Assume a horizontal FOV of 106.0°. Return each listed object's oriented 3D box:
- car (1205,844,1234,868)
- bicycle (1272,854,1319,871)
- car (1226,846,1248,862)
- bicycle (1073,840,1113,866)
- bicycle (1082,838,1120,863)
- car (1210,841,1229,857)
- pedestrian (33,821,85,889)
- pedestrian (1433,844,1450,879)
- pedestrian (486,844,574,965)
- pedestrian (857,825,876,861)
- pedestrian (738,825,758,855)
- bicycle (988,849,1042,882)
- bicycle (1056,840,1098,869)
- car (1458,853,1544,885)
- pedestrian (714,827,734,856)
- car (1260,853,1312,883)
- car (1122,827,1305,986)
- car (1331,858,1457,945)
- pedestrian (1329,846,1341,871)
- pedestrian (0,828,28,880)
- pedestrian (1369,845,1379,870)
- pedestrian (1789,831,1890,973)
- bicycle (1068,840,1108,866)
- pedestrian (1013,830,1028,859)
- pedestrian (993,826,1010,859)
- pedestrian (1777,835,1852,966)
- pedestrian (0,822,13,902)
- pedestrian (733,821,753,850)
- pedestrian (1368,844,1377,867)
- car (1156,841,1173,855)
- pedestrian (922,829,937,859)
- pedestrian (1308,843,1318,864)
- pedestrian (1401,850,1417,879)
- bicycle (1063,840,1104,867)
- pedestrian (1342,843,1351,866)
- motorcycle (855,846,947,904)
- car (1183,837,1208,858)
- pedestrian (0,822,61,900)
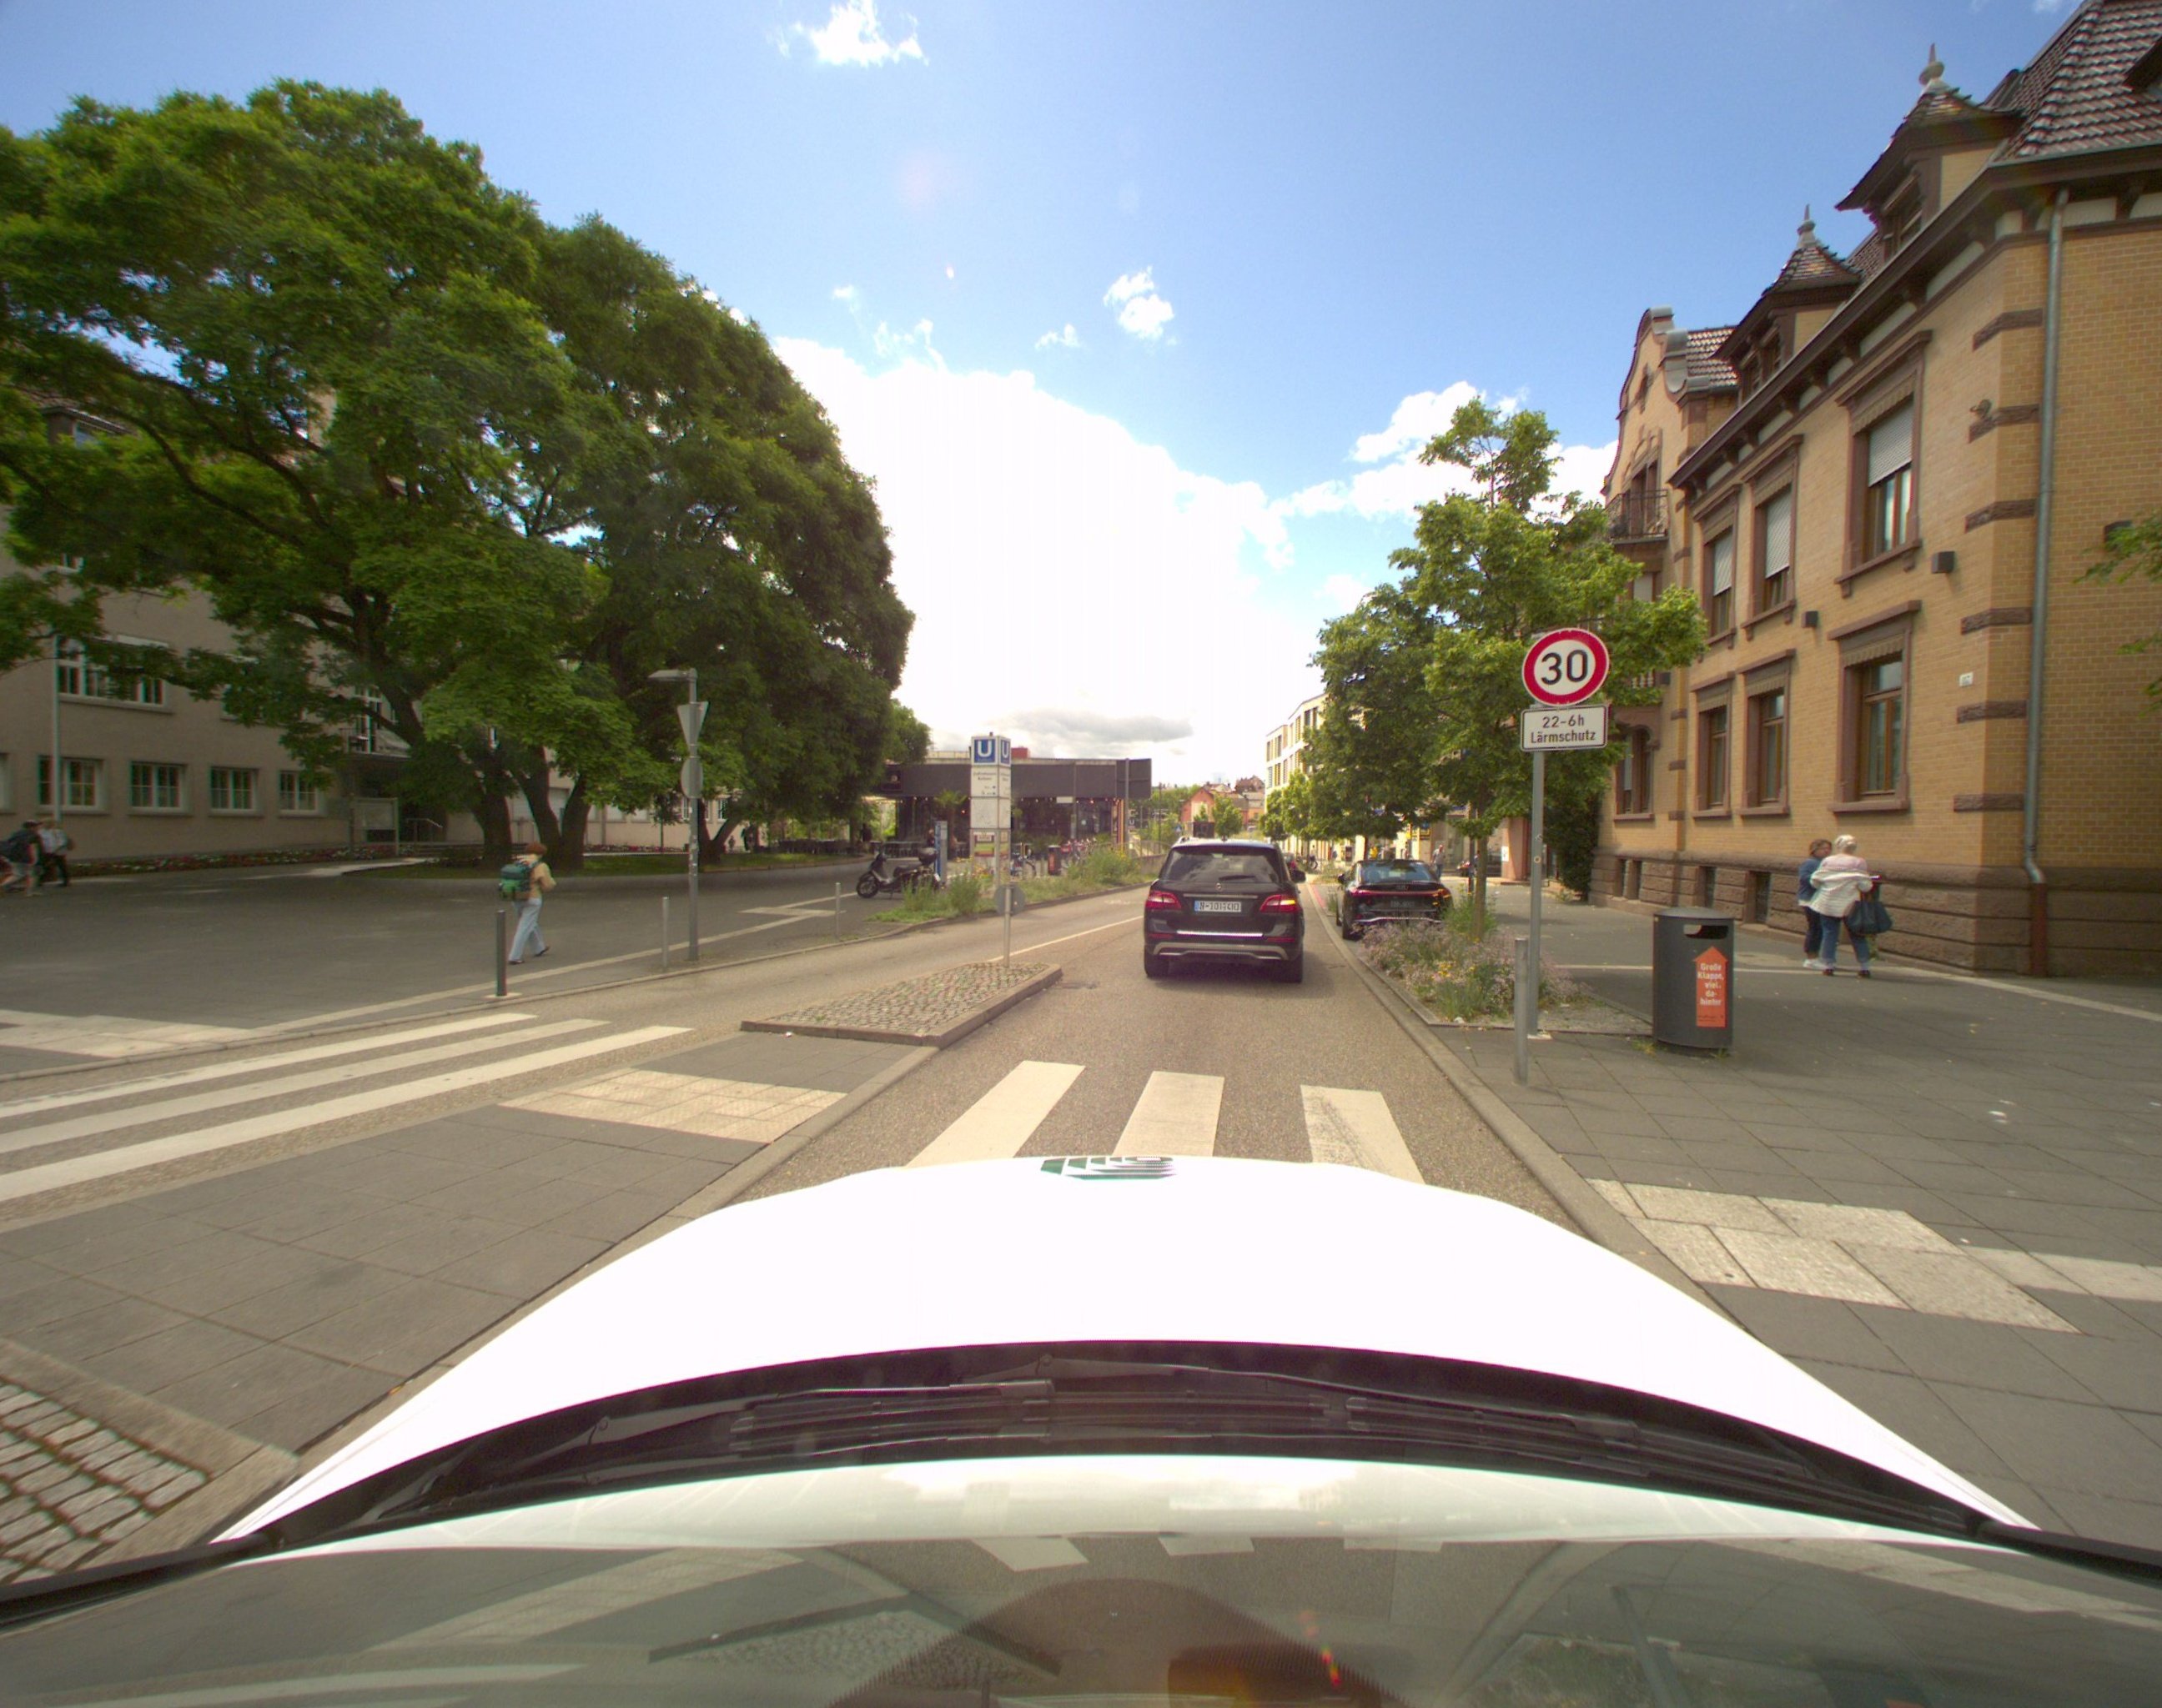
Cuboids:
[{"bbox_3d":[10.105,0.113,59.098,1.828,1.607,4.014,3,1,12],"label":"car"},{"bbox_3d":[14.598,0.556,55.524,3.041,1.146,0.712,0,0,9],"label":"bicycle"},{"bbox_3d":[13.623,-0.028,71.226,1.601,1.383,3.842,0,0,5],"label":"car"},{"bbox_3d":[0.512,-0.058,34.354,1.556,1.091,0.580,0,0,14],"label":"bicycle"},{"bbox_3d":[0.855,-0.159,35.232,1.556,1.091,0.580,0,0,14],"label":"bicycle"},{"bbox_3d":[14.490,-0.505,85.561,1.830,1.524,4.010,3,1,8],"label":"car"},{"bbox_3d":[-23.265,0.029,18.544,0.804,1.493,0.705,0,-1,38],"label":"pedestrian"},{"bbox_3d":[16.957,0.359,38.329,0.627,1.626,0.702,0,0,14],"label":"pedestrian"},{"bbox_3d":[-7.333,0.643,10.862,0.545,1.514,0.792,2,3,22],"label":"pedestrian"},{"bbox_3d":[-9.484,-0.482,36.074,0.610,1.577,0.584,0,0,10],"label":"pedestrian"},{"bbox_3d":[-18.160,-0.773,44.370,0.780,1.627,0.639,0,0,13],"label":"pedestrian"},{"bbox_3d":[-2.040,0.355,25.254,1.598,0.997,0.502,0,0,20],"label":"bicycle"},{"bbox_3d":[-0.156,0.018,31.928,1.556,1.091,0.580,0,0,14],"label":"bicycle"},{"bbox_3d":[23.785,0.809,46.216,3.960,1.566,1.853,3,1,13],"label":"car"},{"bbox_3d":[-19.566,-0.695,44.675,0.630,1.577,0.791,0,0,14],"label":"pedestrian"},{"bbox_3d":[10.094,0.650,39.909,1.593,1.383,3.860,0,1,28],"label":"car"},{"bbox_3d":[2.001,0.578,11.265,2.013,1.727,4.450,-1,0,14],"label":"car"},{"bbox_3d":[5.840,0.798,15.679,1.842,1.406,4.392,-1,0,15],"label":"car"},{"bbox_3d":[17.387,0.314,55.770,0.659,1.682,0.569,0,0,4],"label":"pedestrian"},{"bbox_3d":[-25.424,-0.001,19.216,0.489,1.222,0.575,1,-1,-29],"label":"pedestrian"},{"bbox_3d":[20.142,0.237,55.945,0.555,1.691,0.641,0,0,11],"label":"pedestrian"},{"bbox_3d":[9.110,0.556,9.796,0.553,1.629,0.674,-1,-1,-14],"label":"pedestrian"},{"bbox_3d":[0.294,-0.047,33.494,1.556,1.091,0.580,0,0,14],"label":"bicycle"},{"bbox_3d":[-3.048,-0.476,41.064,0.576,1.463,0.619,0,0,22],"label":"pedestrian"},{"bbox_3d":[-3.944,-0.566,40.397,0.586,1.618,0.609,0,0,-41],"label":"pedestrian"},{"bbox_3d":[9.362,0.580,10.412,0.501,1.629,0.512,-1,-1,11],"label":"pedestrian"},{"bbox_3d":[-22.153,0.150,16.475,0.432,1.608,0.578,4,2,29],"label":"pedestrian"},{"bbox_3d":[-18.832,-1.021,45.373,0.780,1.577,0.639,0,0,13],"label":"pedestrian"},{"bbox_3d":[20.813,0.108,58.113,0.555,1.682,0.570,0,0,11],"label":"pedestrian"},{"bbox_3d":[10.787,-0.792,105.302,1.834,1.607,4.000,3,1,0],"label":"car"},{"bbox_3d":[-7.165,-0.468,38.494,0.579,1.379,0.616,0,0,2],"label":"pedestrian"},{"bbox_3d":[19.221,-0.032,67.430,0.558,1.682,0.567,0,0,-8],"label":"pedestrian"},{"bbox_3d":[17.715,0.554,43.976,0.706,1.563,0.570,0,0,11],"label":"pedestrian"},{"bbox_3d":[0.094,-0.015,32.662,1.556,1.069,0.541,0,0,14],"label":"bicycle"},{"bbox_3d":[20.033,0.045,61.418,0.555,1.682,0.570,0,0,11],"label":"pedestrian"},{"bbox_3d":[-4.320,0.480,19.542,2.116,1.289,0.586,2,3,16],"label":"motorcycle"},{"bbox_3d":[11.013,-0.669,78.581,1.833,1.858,4.501,3,1,3],"label":"car"},{"bbox_3d":[-21.277,0.139,16.499,0.570,1.523,0.642,4,2,29],"label":"pedestrian"}]
